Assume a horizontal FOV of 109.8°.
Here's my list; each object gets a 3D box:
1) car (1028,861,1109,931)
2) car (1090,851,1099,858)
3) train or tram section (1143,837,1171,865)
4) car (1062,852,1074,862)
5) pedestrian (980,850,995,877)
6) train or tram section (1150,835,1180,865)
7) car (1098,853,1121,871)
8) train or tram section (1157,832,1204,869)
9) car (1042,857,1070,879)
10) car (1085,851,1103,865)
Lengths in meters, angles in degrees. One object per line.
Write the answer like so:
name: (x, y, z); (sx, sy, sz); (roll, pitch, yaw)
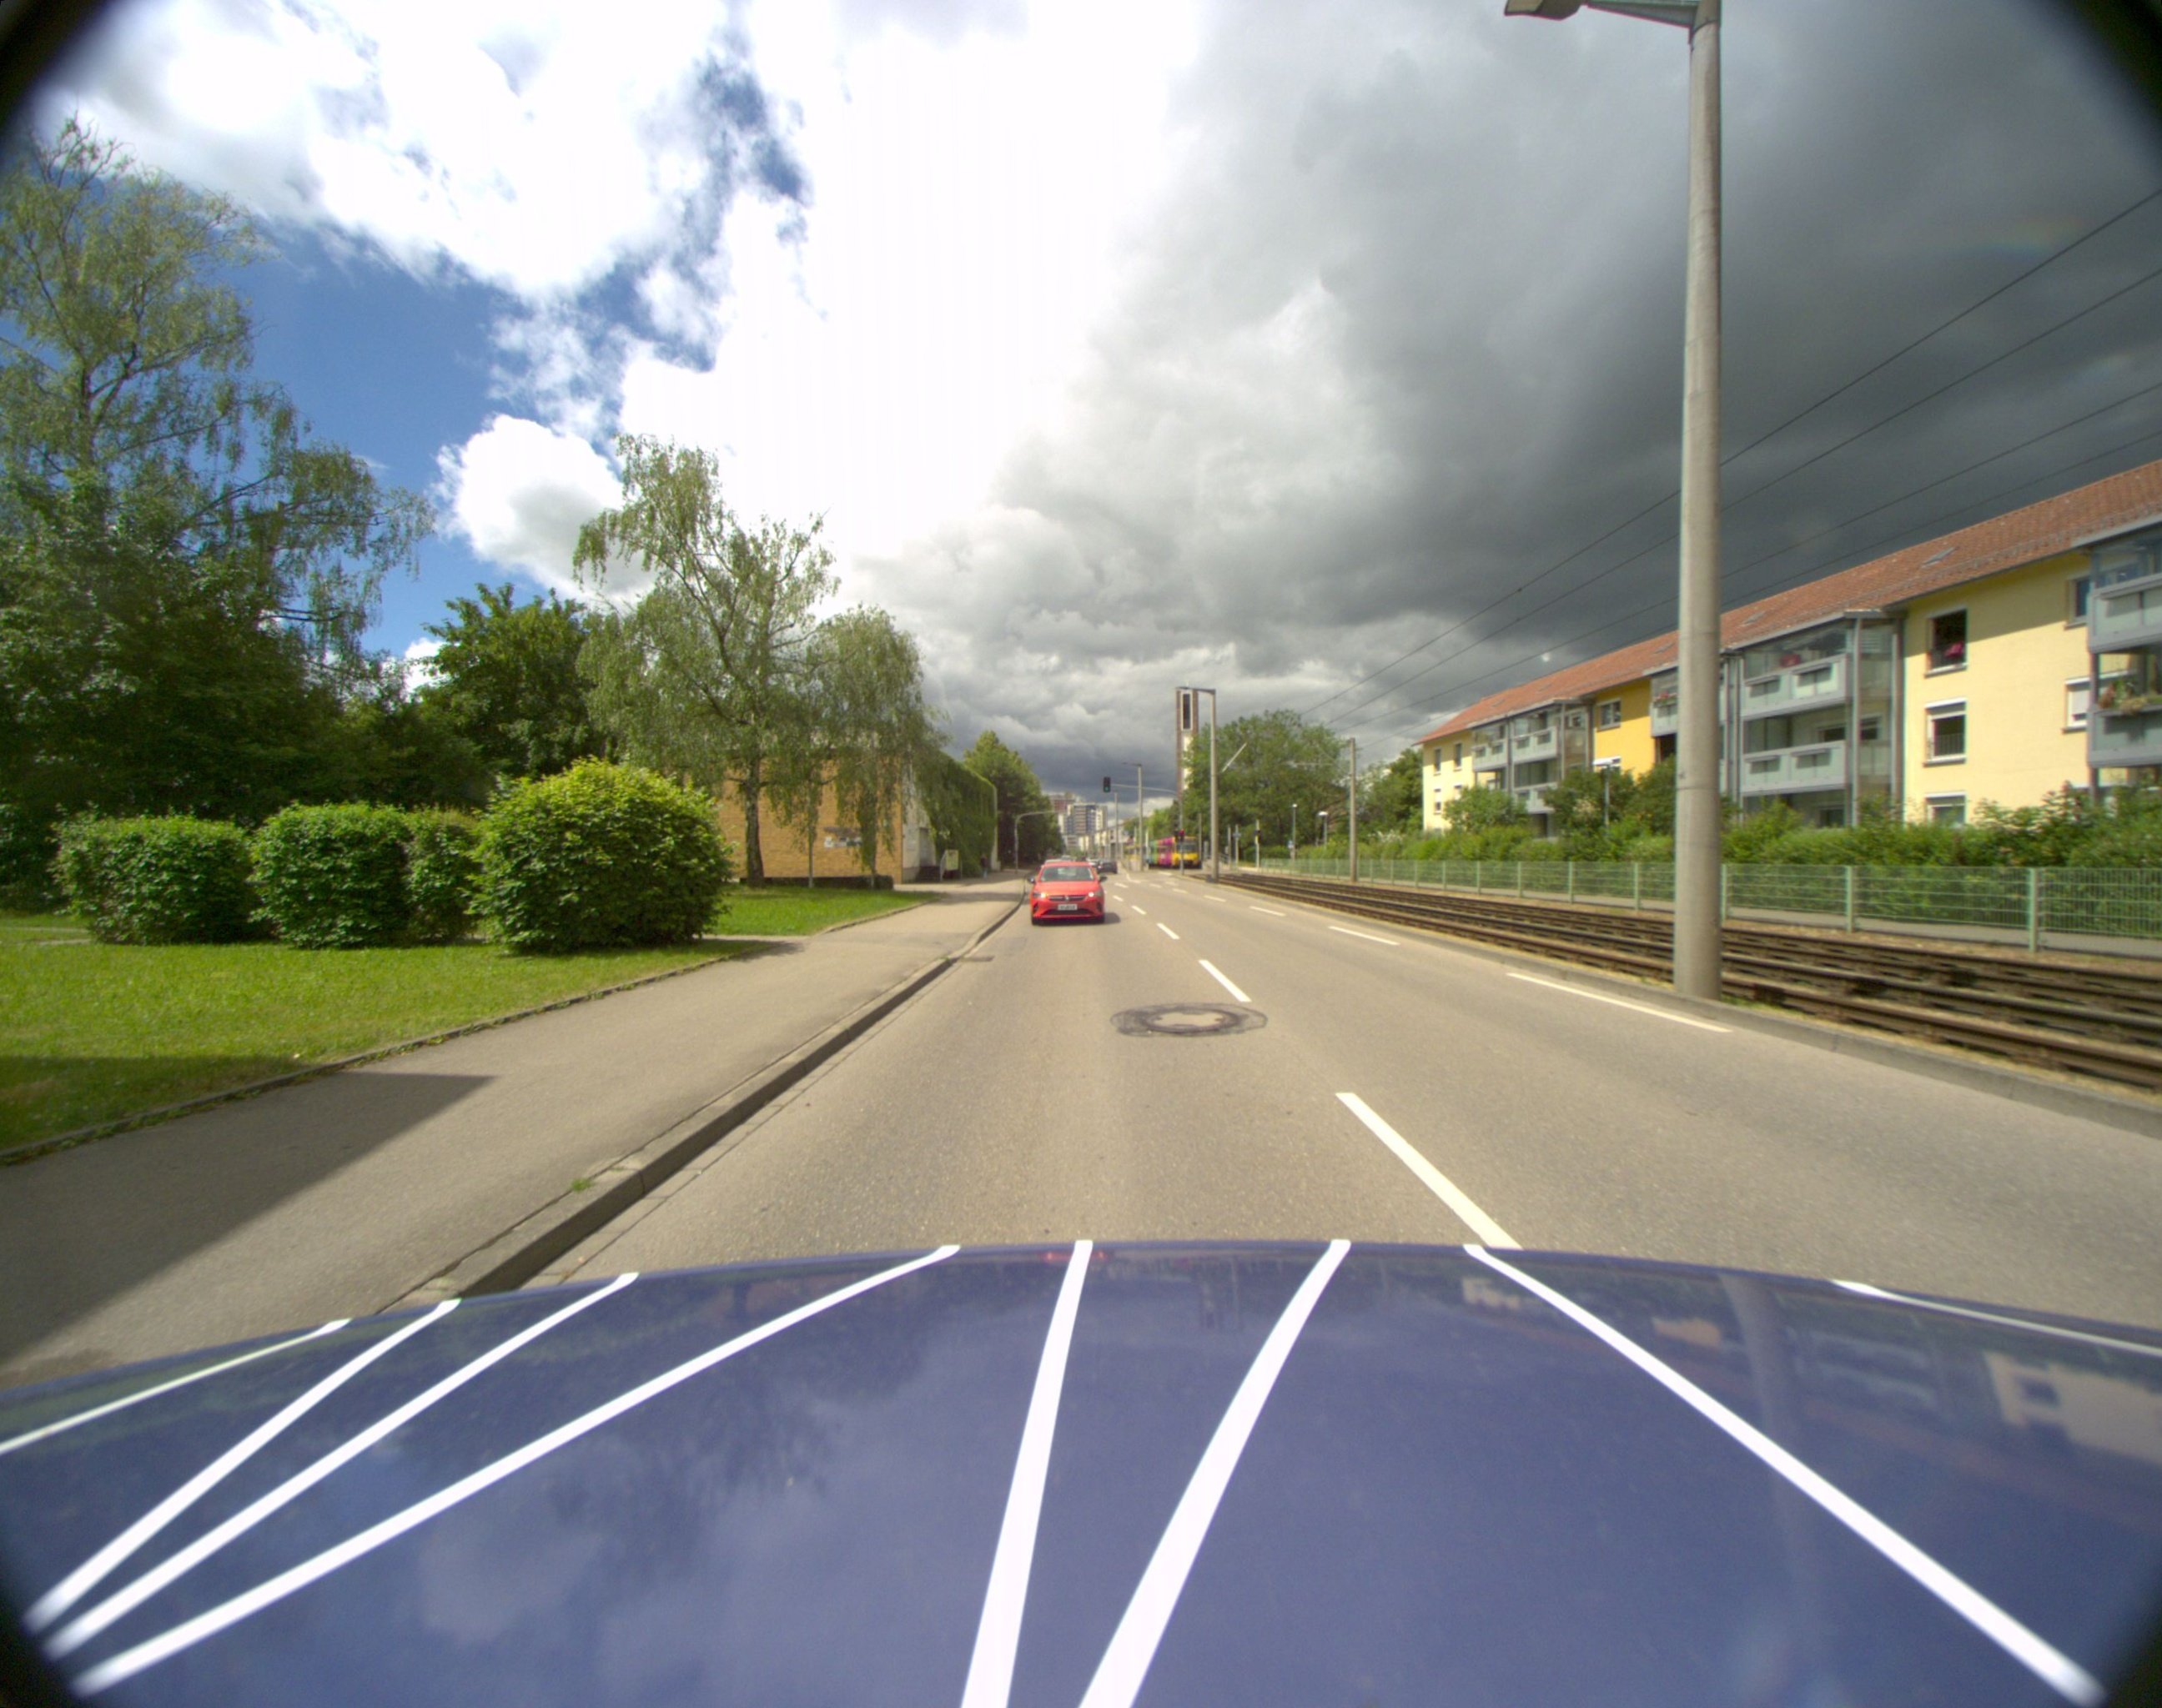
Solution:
car: (-0.224, 0.960, 19.036); (1.756, 1.433, 4.226); (-1, 0, 1)
car: (2.760, 0.091, 158.300); (1.722, 1.433, 4.008); (-1, 0, -1)
train or tram section: (11.475, -0.454, 115.739); (2.988, 3.840, 11.785); (-2, 0, 0)
car: (-2.046, 0.415, 118.242); (1.821, 1.433, 4.008); (-1, 0, -2)
pedestrian: (-6.182, 0.626, 50.238); (0.811, 1.761, 0.817); (2, 1, 6)
train or tram section: (11.486, -0.502, 104.155); (2.988, 3.840, 8.377); (-2, 0, 0)
car: (2.405, 0.653, 65.709); (1.633, 1.424, 4.166); (-2, 0, -2)
train or tram section: (11.545, -0.452, 90.742); (2.988, 3.840, 18.536); (-2, 0, 0)
car: (-1.770, 0.994, 55.469); (1.756, 1.433, 4.226); (-1, 0, 1)
car: (1.497, 0.463, 87.648); (1.765, 1.543, 3.999); (-2, 0, -2)
